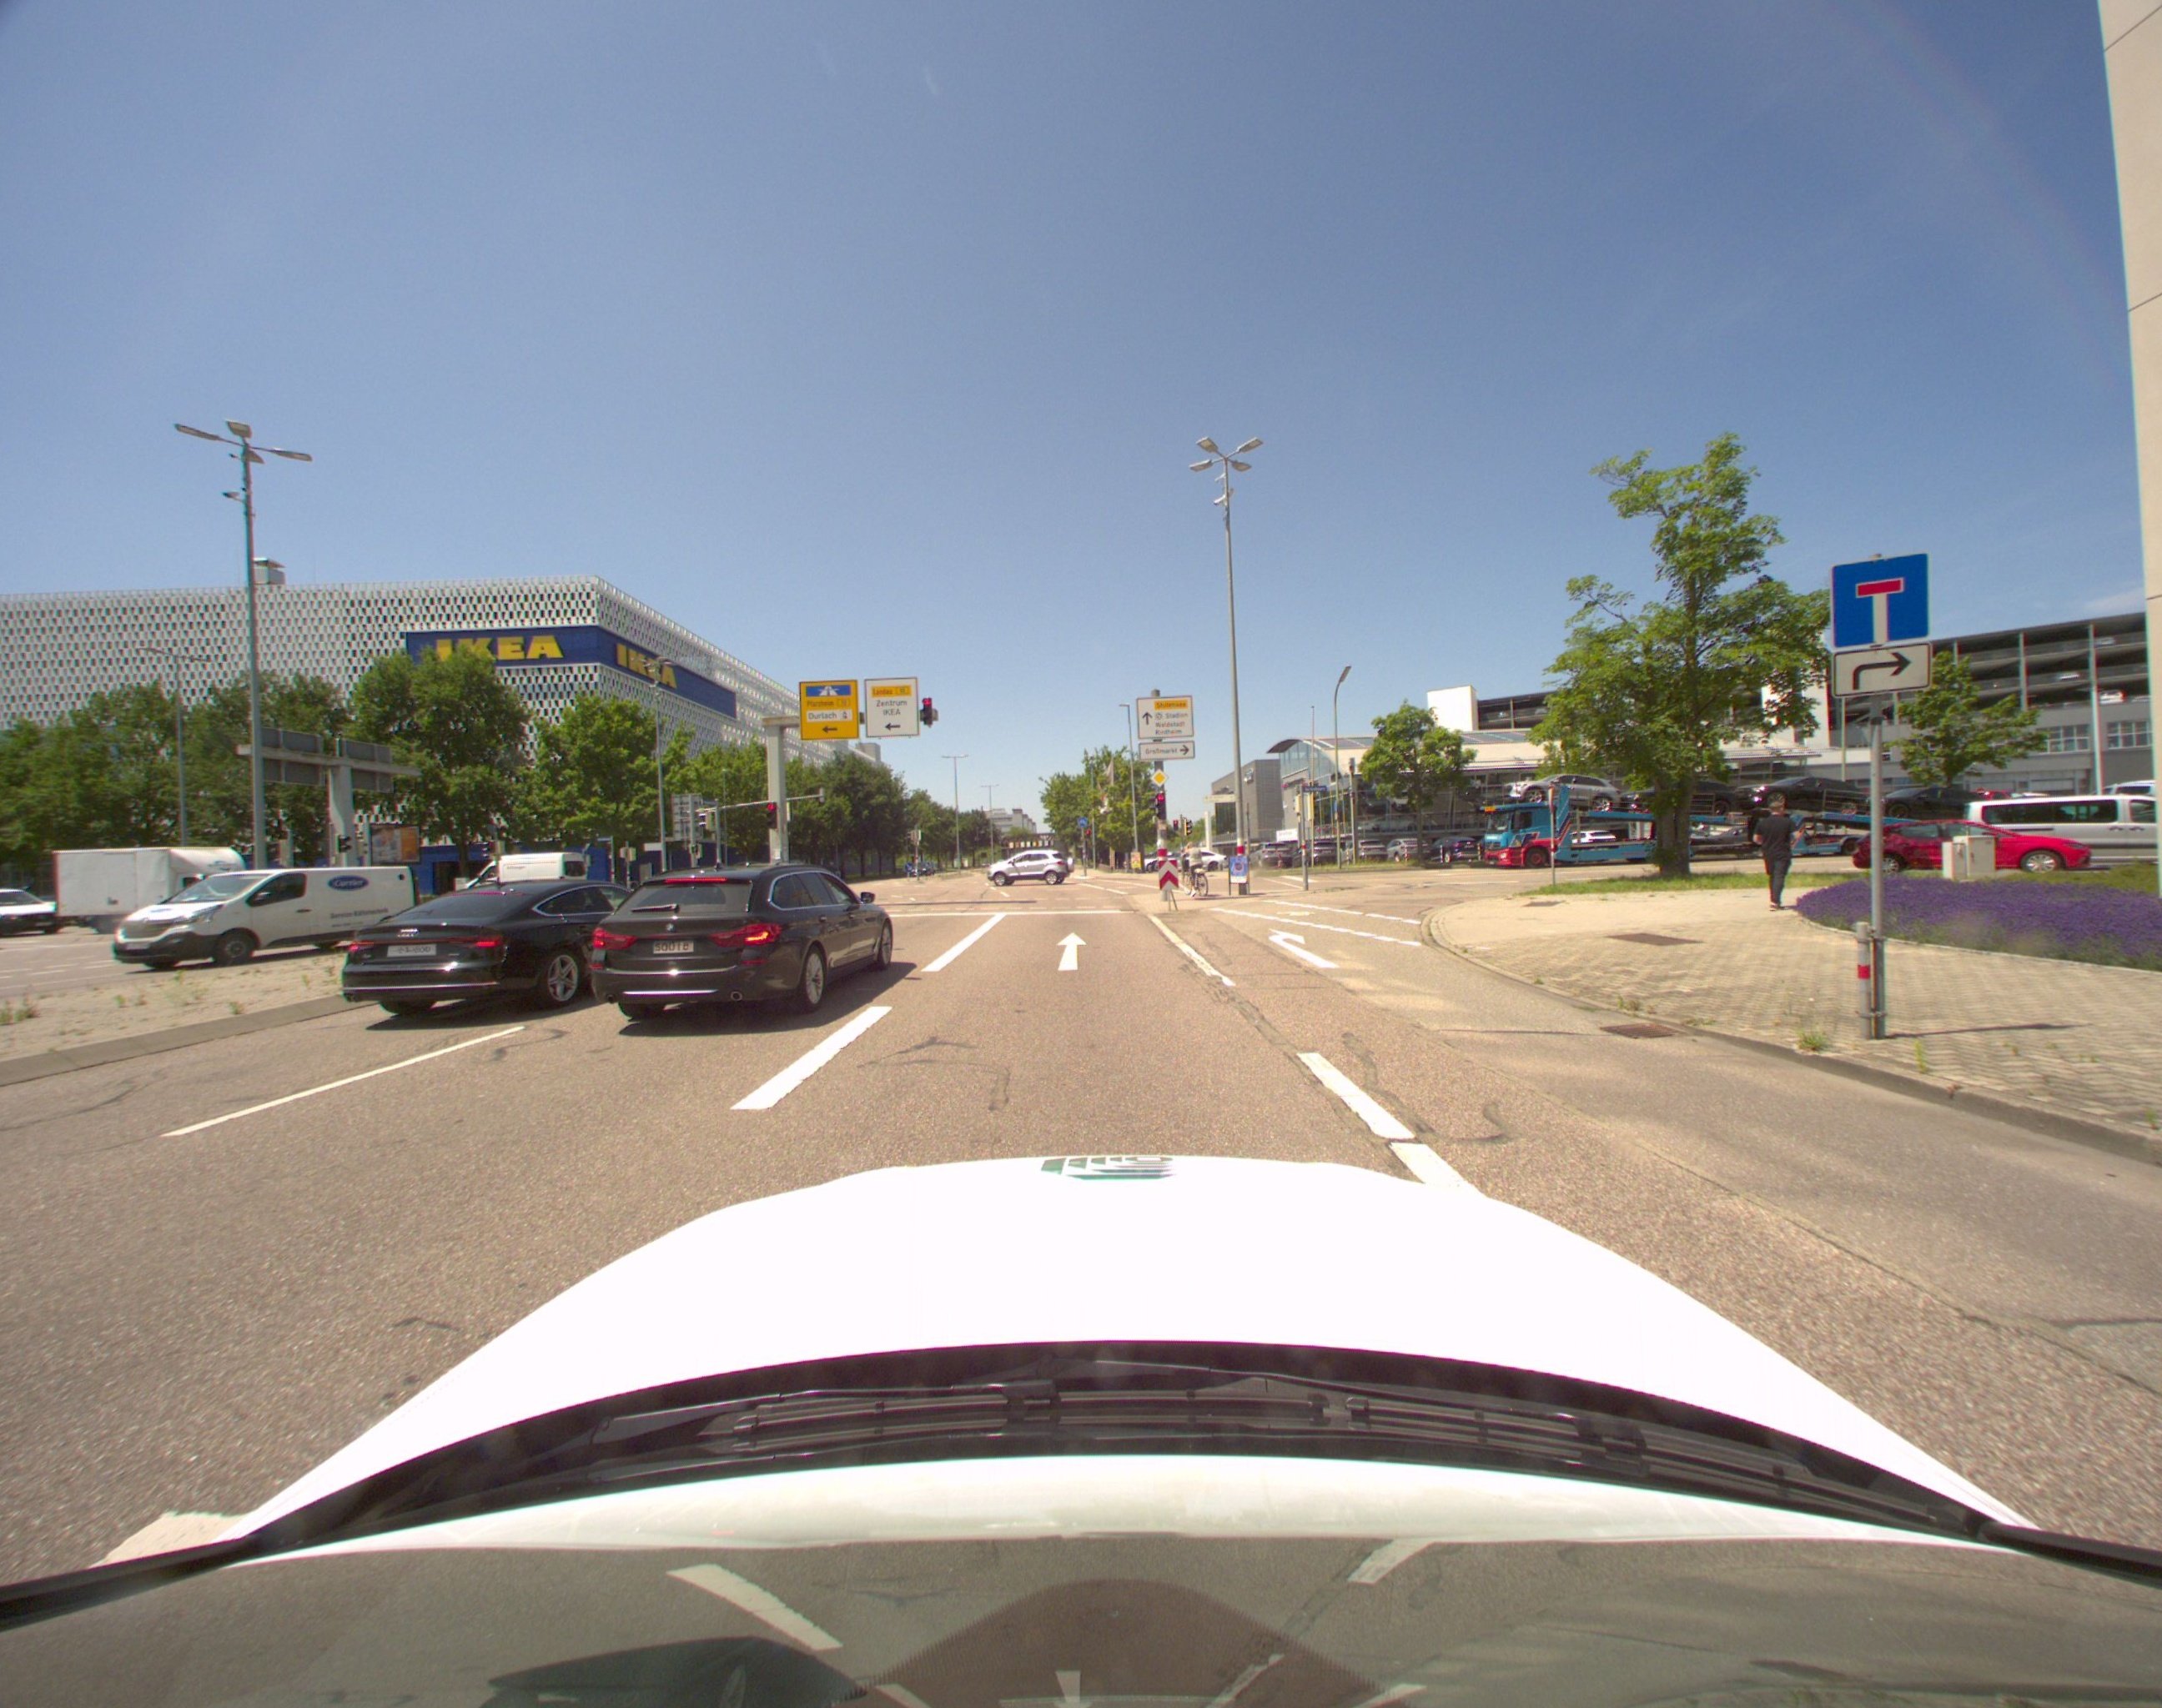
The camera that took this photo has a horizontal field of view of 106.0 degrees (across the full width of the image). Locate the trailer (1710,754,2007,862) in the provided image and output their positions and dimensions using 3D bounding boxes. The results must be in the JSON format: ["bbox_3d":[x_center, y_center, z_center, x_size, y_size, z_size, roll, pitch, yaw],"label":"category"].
[{"bbox_3d":[33.617,-1.923,35.571,9.570,4.081,3.098,-2,0,3],"label":"trailer"}]

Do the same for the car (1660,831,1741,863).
[{"bbox_3d":[38.375,-0.418,50.567,3.666,1.777,1.758,-2,0,26],"label":"car"}]

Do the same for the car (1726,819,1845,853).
[{"bbox_3d":[39.640,-0.984,45.961,4.707,1.639,1.843,-3,0,21],"label":"car"}]

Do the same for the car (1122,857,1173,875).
[{"bbox_3d":[6.415,1.165,79.146,4.730,1.457,1.998,-3,0,-3],"label":"car"}]

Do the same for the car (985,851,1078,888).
[{"bbox_3d":[-2.370,0.741,39.401,4.170,1.652,1.719,-2,0,9],"label":"car"}]

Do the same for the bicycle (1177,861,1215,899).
[{"bbox_3d":[3.672,0.825,26.188,0.785,1.127,1.918,-1,0,-5],"label":"bicycle"}]

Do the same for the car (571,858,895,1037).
[{"bbox_3d":[-3.511,0.815,9.308,1.795,1.466,4.620,-1,0,-2],"label":"car"}]

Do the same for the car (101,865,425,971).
[{"bbox_3d":[-17.687,1.265,18.058,1.820,1.850,4.852,-2,0,8],"label":"car"}]

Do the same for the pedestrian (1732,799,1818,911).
[{"bbox_3d":[12.013,0.012,14.106,0.870,1.845,0.766,-3,-1,-28],"label":"pedestrian"}]

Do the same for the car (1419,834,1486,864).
[{"bbox_3d":[21.733,-0.288,47.865,1.822,1.639,4.472,-3,0,-1],"label":"car"}]

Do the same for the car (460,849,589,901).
[{"bbox_3d":[-29.227,1.084,42.839,5.466,2.567,2.002,-1,-1,4],"label":"car"}]

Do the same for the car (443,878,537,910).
[{"bbox_3d":[-28.602,1.920,39.482,3.354,1.357,1.625,-2,0,3],"label":"car"}]

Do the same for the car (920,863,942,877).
[{"bbox_3d":[-18.461,1.960,100.120,1.869,1.598,4.494,-3,-1,-1],"label":"car"}]

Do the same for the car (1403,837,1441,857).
[{"bbox_3d":[36.163,-0.735,86.369,1.991,2.013,3.991,-2,0,-6],"label":"car"}]

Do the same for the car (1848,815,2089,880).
[{"bbox_3d":[22.183,-0.121,20.550,1.619,1.435,3.952,-2,-1,-41],"label":"car"}]

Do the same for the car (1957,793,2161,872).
[{"bbox_3d":[25.872,-0.542,20.665,1.715,1.815,4.846,-2,-1,-43],"label":"car"}]

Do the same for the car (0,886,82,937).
[{"bbox_3d":[-43.024,2.328,31.898,5.431,1.811,2.002,-2,0,3],"label":"car"}]

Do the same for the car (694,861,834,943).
[{"bbox_3d":[-6.649,0.931,17.533,1.796,1.494,3.991,-1,0,-7],"label":"car"}]

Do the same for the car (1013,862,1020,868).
[{"bbox_3d":[-18.827,3.164,237.765,1.727,1.427,3.704,-4,-1,-1],"label":"car"}]

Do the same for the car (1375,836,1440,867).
[{"bbox_3d":[18.997,-0.150,47.605,1.880,1.639,4.523,-3,0,-1],"label":"car"}]

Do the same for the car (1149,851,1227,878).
[{"bbox_3d":[6.754,0.652,51.758,4.725,1.457,2.000,-2,0,1],"label":"car"}]

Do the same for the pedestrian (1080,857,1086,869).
[{"bbox_3d":[0.295,1.104,99.817,0.666,1.510,0.735,-2,0,-1],"label":"pedestrian"}]

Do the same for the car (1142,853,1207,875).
[{"bbox_3d":[7.116,0.772,62.287,4.730,1.457,1.998,-2,0,-3],"label":"car"}]

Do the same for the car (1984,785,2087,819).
[{"bbox_3d":[66.715,-3.585,57.050,1.989,2.013,4.345,-2,0,-3],"label":"car"}]

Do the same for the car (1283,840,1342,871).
[{"bbox_3d":[13.448,0.081,47.577,1.988,1.639,4.555,-3,0,-1],"label":"car"}]

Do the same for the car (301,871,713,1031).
[{"bbox_3d":[-6.459,0.966,9.980,1.742,1.390,4.534,-2,0,1],"label":"car"}]

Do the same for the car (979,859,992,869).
[{"bbox_3d":[-21.098,2.178,179.991,1.985,2.014,4.002,-2,-2,3],"label":"car"}]

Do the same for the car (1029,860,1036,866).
[{"bbox_3d":[-13.644,2.517,228.487,1.767,1.728,3.998,-3,-1,-1],"label":"car"}]

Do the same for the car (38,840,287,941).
[{"bbox_3d":[-35.348,1.363,31.496,6.881,3.486,2.183,-2,1,0],"label":"car"}]

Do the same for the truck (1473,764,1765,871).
[{"bbox_3d":[23.551,-1.520,36.161,10.571,4.082,3.104,-2,0,3],"label":"truck"}]

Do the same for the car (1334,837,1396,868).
[{"bbox_3d":[16.515,-0.098,47.644,1.988,1.639,4.439,-3,0,-1],"label":"car"}]

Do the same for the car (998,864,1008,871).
[{"bbox_3d":[-19.718,3.371,204.741,1.919,1.665,4.090,-3,-1,2],"label":"car"}]

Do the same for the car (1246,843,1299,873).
[{"bbox_3d":[11.097,0.204,47.529,1.988,1.639,4.266,-2,0,-1],"label":"car"}]

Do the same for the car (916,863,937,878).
[{"bbox_3d":[-22.249,2.409,117.352,1.988,2.007,4.762,-3,-1,-1],"label":"car"}]

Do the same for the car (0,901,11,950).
[{"bbox_3d":[-35.604,2.324,24.783,3.964,1.508,1.937,-3,0,8],"label":"car"}]

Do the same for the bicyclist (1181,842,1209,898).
[{"bbox_3d":[3.643,0.514,26.110,0.732,1.749,0.752,-1,0,-5],"label":"bicyclist"}]

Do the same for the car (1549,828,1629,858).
[{"bbox_3d":[29.979,-0.641,48.210,1.822,1.639,4.472,-3,0,-1],"label":"car"}]
